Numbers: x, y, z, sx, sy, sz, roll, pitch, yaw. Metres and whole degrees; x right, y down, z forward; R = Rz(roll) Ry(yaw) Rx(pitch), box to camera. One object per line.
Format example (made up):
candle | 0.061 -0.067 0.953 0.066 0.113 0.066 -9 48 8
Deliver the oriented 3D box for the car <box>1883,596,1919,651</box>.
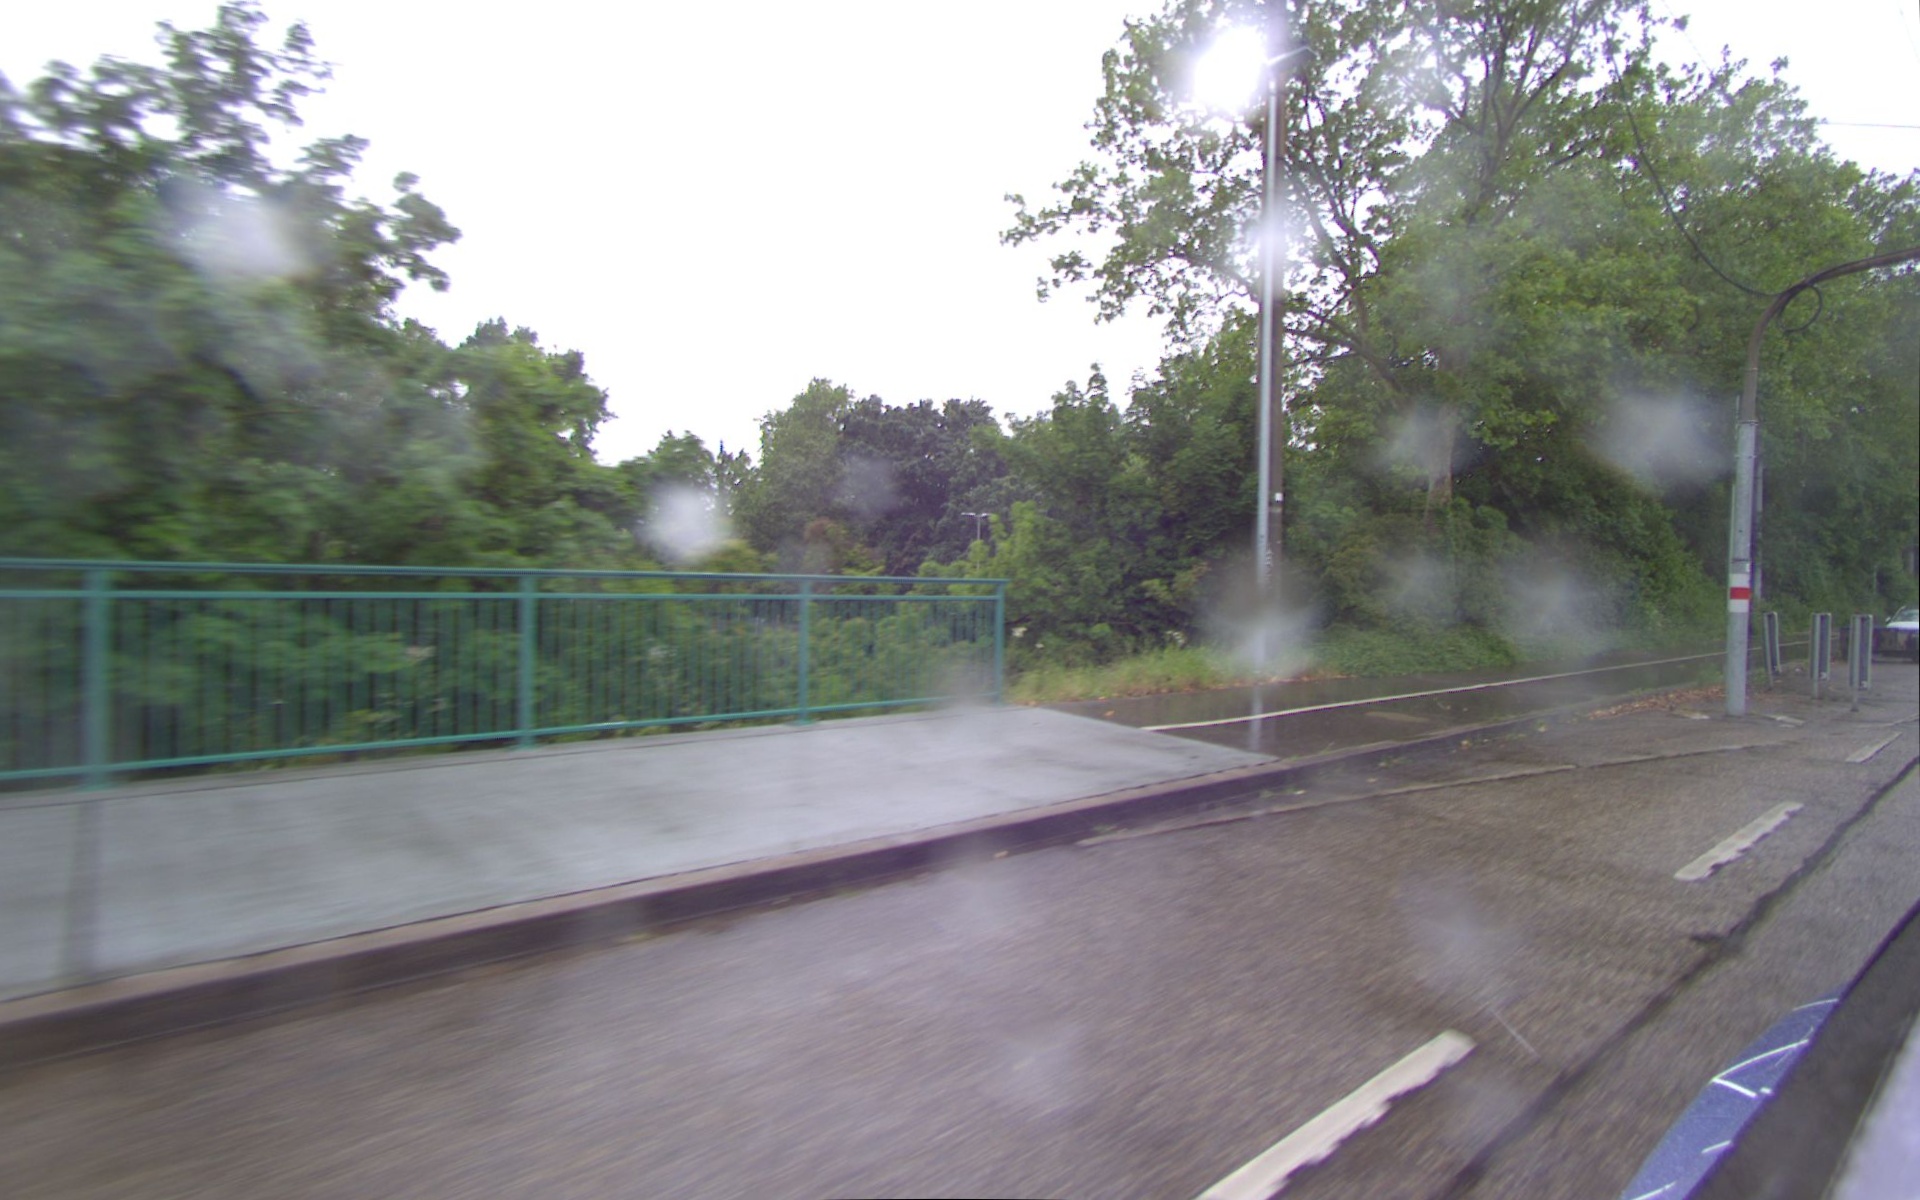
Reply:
car | 26.601 0.630 27.360 4.122 1.421 1.997 1 -1 -41

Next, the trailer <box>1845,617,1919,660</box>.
trailer | 22.452 0.881 24.182 3.218 0.949 1.545 1 -1 -41
